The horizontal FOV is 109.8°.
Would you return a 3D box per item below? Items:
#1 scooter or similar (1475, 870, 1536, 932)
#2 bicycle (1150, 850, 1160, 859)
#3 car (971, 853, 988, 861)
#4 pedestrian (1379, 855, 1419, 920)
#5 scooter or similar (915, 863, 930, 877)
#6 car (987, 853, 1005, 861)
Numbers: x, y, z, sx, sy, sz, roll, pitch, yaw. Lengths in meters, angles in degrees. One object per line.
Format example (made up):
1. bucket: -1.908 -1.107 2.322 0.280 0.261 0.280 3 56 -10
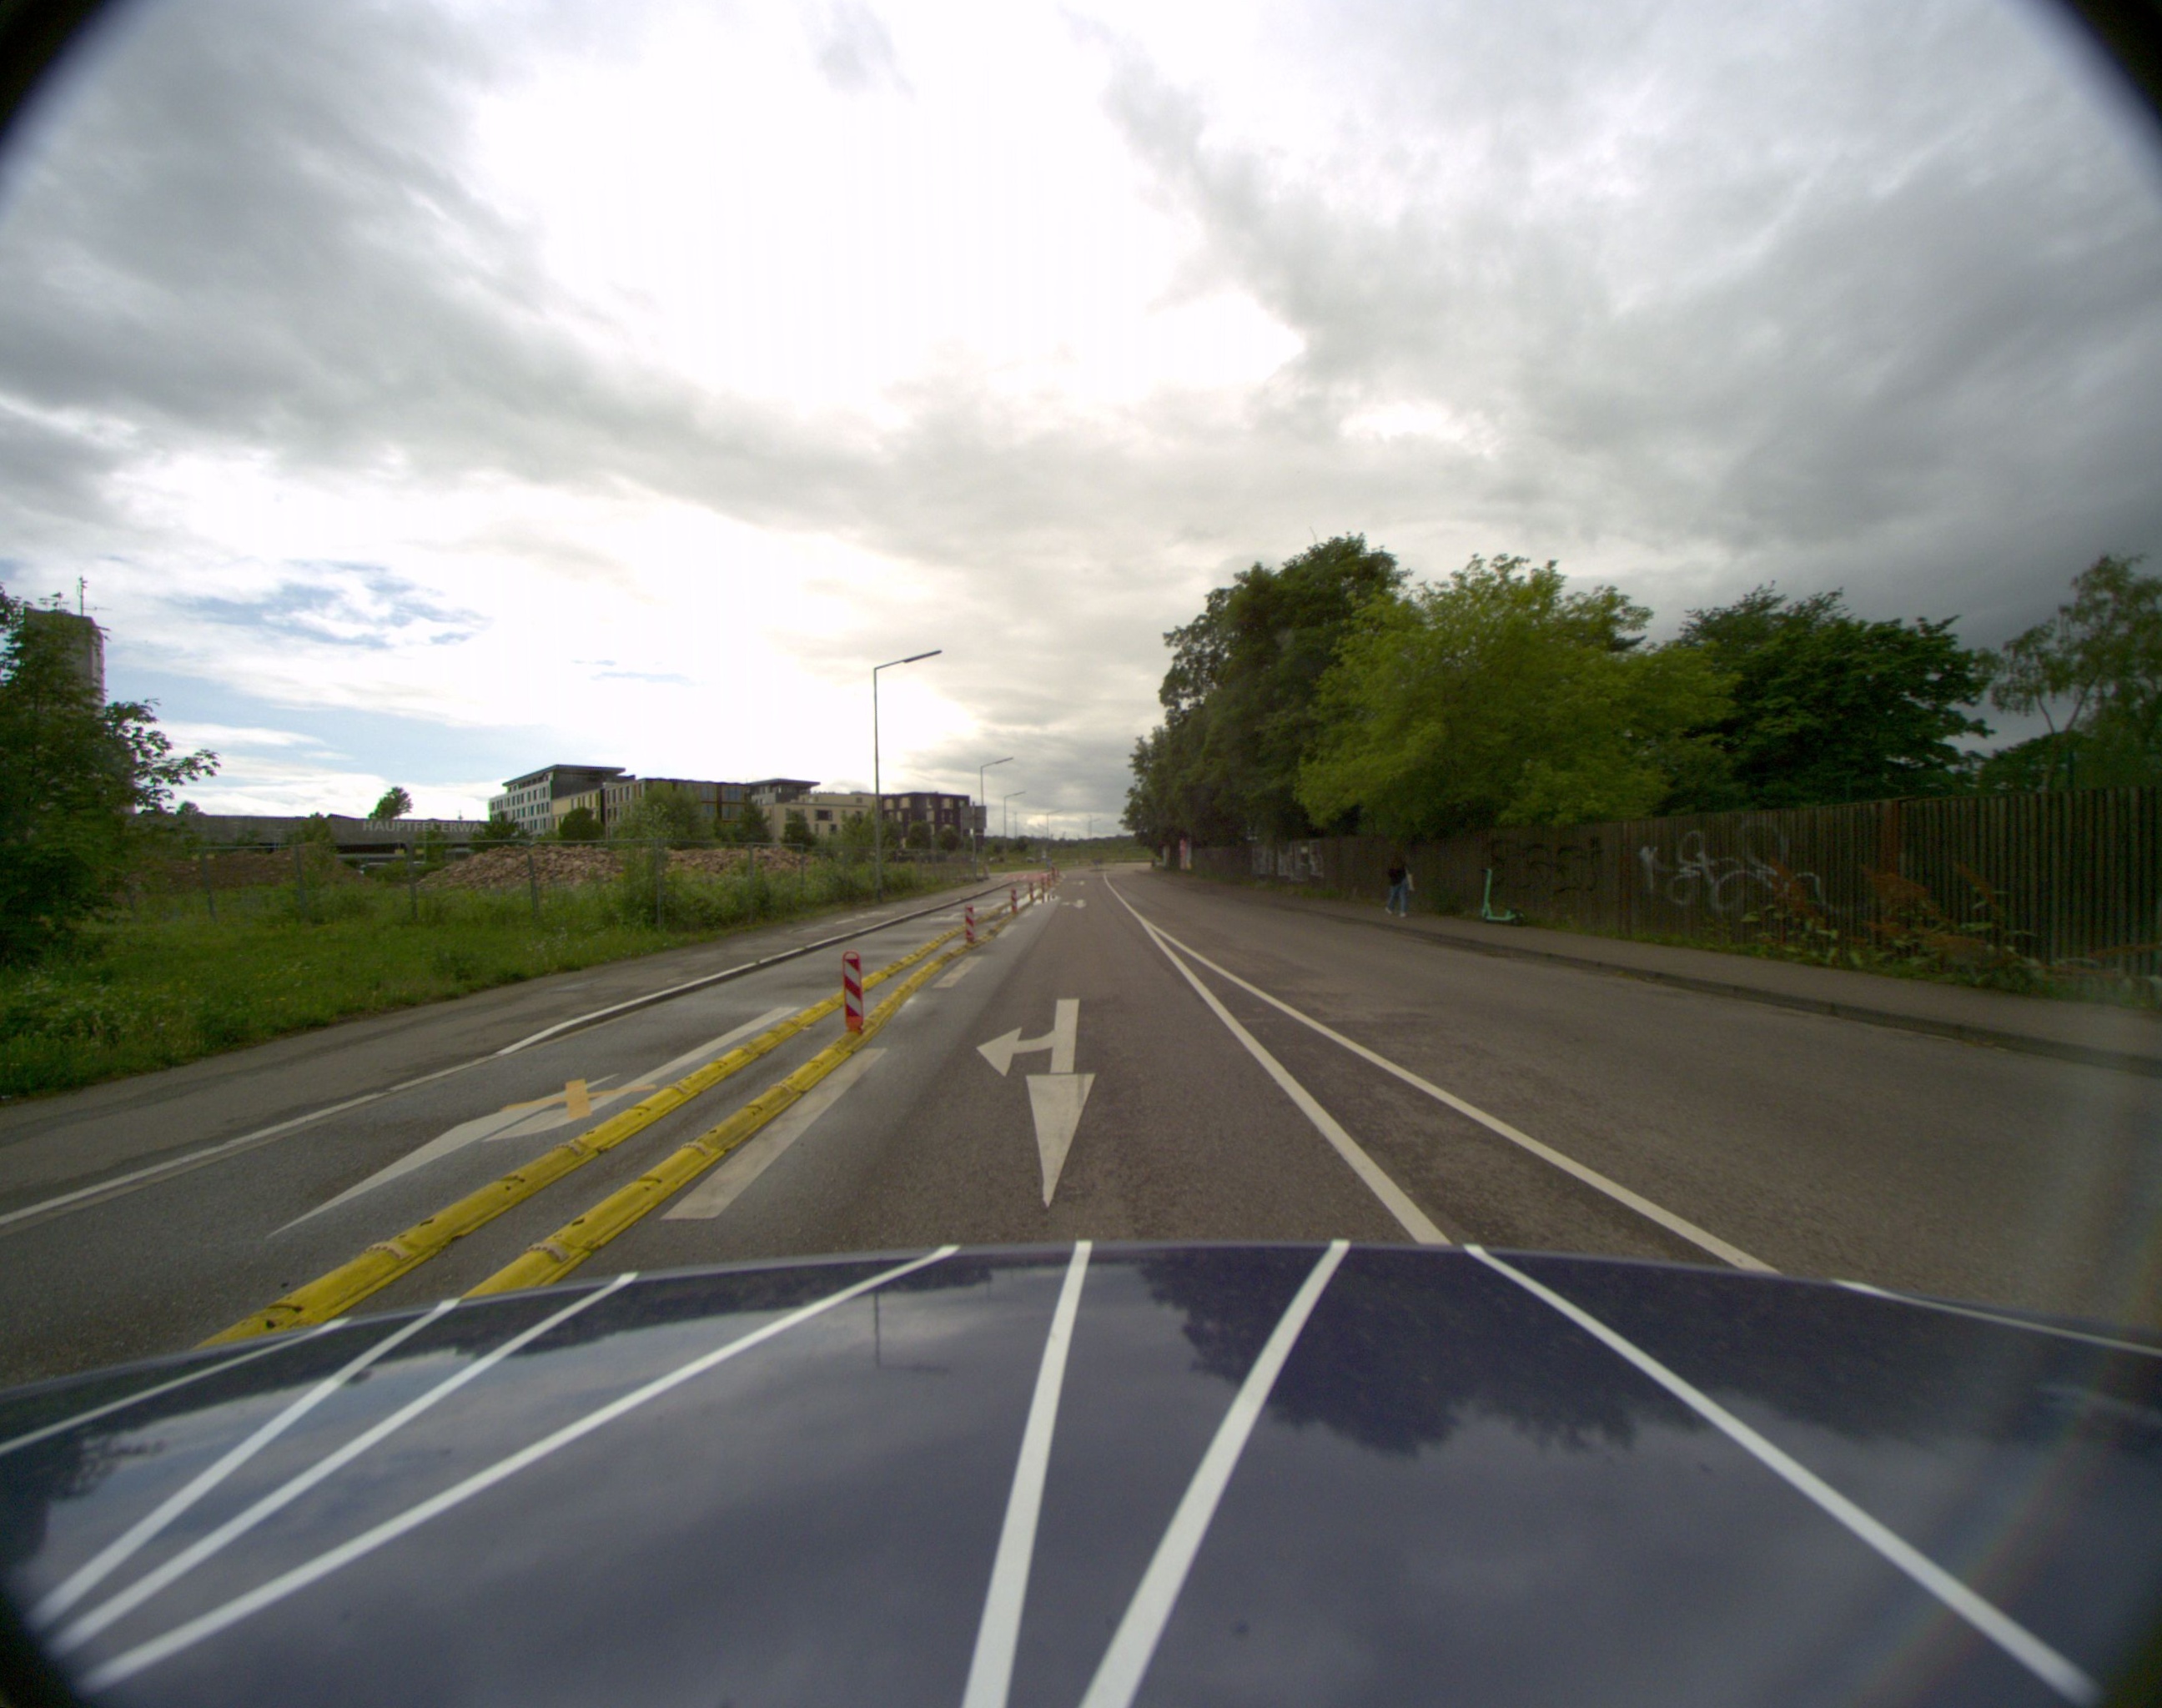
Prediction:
1. scooter or similar: 8.614 0.929 15.446 0.424 1.164 1.303 -1 0 -5
2. bicycle: 9.059 0.051 93.173 0.582 0.992 1.773 -3 0 28
3. car: -26.085 0.696 195.092 1.994 2.002 4.008 0 0 42
4. pedestrian: 7.616 0.797 18.217 0.614 1.520 0.724 -1 1 -4
5. scooter or similar: -13.185 1.324 63.165 1.323 1.178 0.447 0 1 41
6. car: -21.195 0.655 189.449 1.994 2.002 4.008 0 0 42
